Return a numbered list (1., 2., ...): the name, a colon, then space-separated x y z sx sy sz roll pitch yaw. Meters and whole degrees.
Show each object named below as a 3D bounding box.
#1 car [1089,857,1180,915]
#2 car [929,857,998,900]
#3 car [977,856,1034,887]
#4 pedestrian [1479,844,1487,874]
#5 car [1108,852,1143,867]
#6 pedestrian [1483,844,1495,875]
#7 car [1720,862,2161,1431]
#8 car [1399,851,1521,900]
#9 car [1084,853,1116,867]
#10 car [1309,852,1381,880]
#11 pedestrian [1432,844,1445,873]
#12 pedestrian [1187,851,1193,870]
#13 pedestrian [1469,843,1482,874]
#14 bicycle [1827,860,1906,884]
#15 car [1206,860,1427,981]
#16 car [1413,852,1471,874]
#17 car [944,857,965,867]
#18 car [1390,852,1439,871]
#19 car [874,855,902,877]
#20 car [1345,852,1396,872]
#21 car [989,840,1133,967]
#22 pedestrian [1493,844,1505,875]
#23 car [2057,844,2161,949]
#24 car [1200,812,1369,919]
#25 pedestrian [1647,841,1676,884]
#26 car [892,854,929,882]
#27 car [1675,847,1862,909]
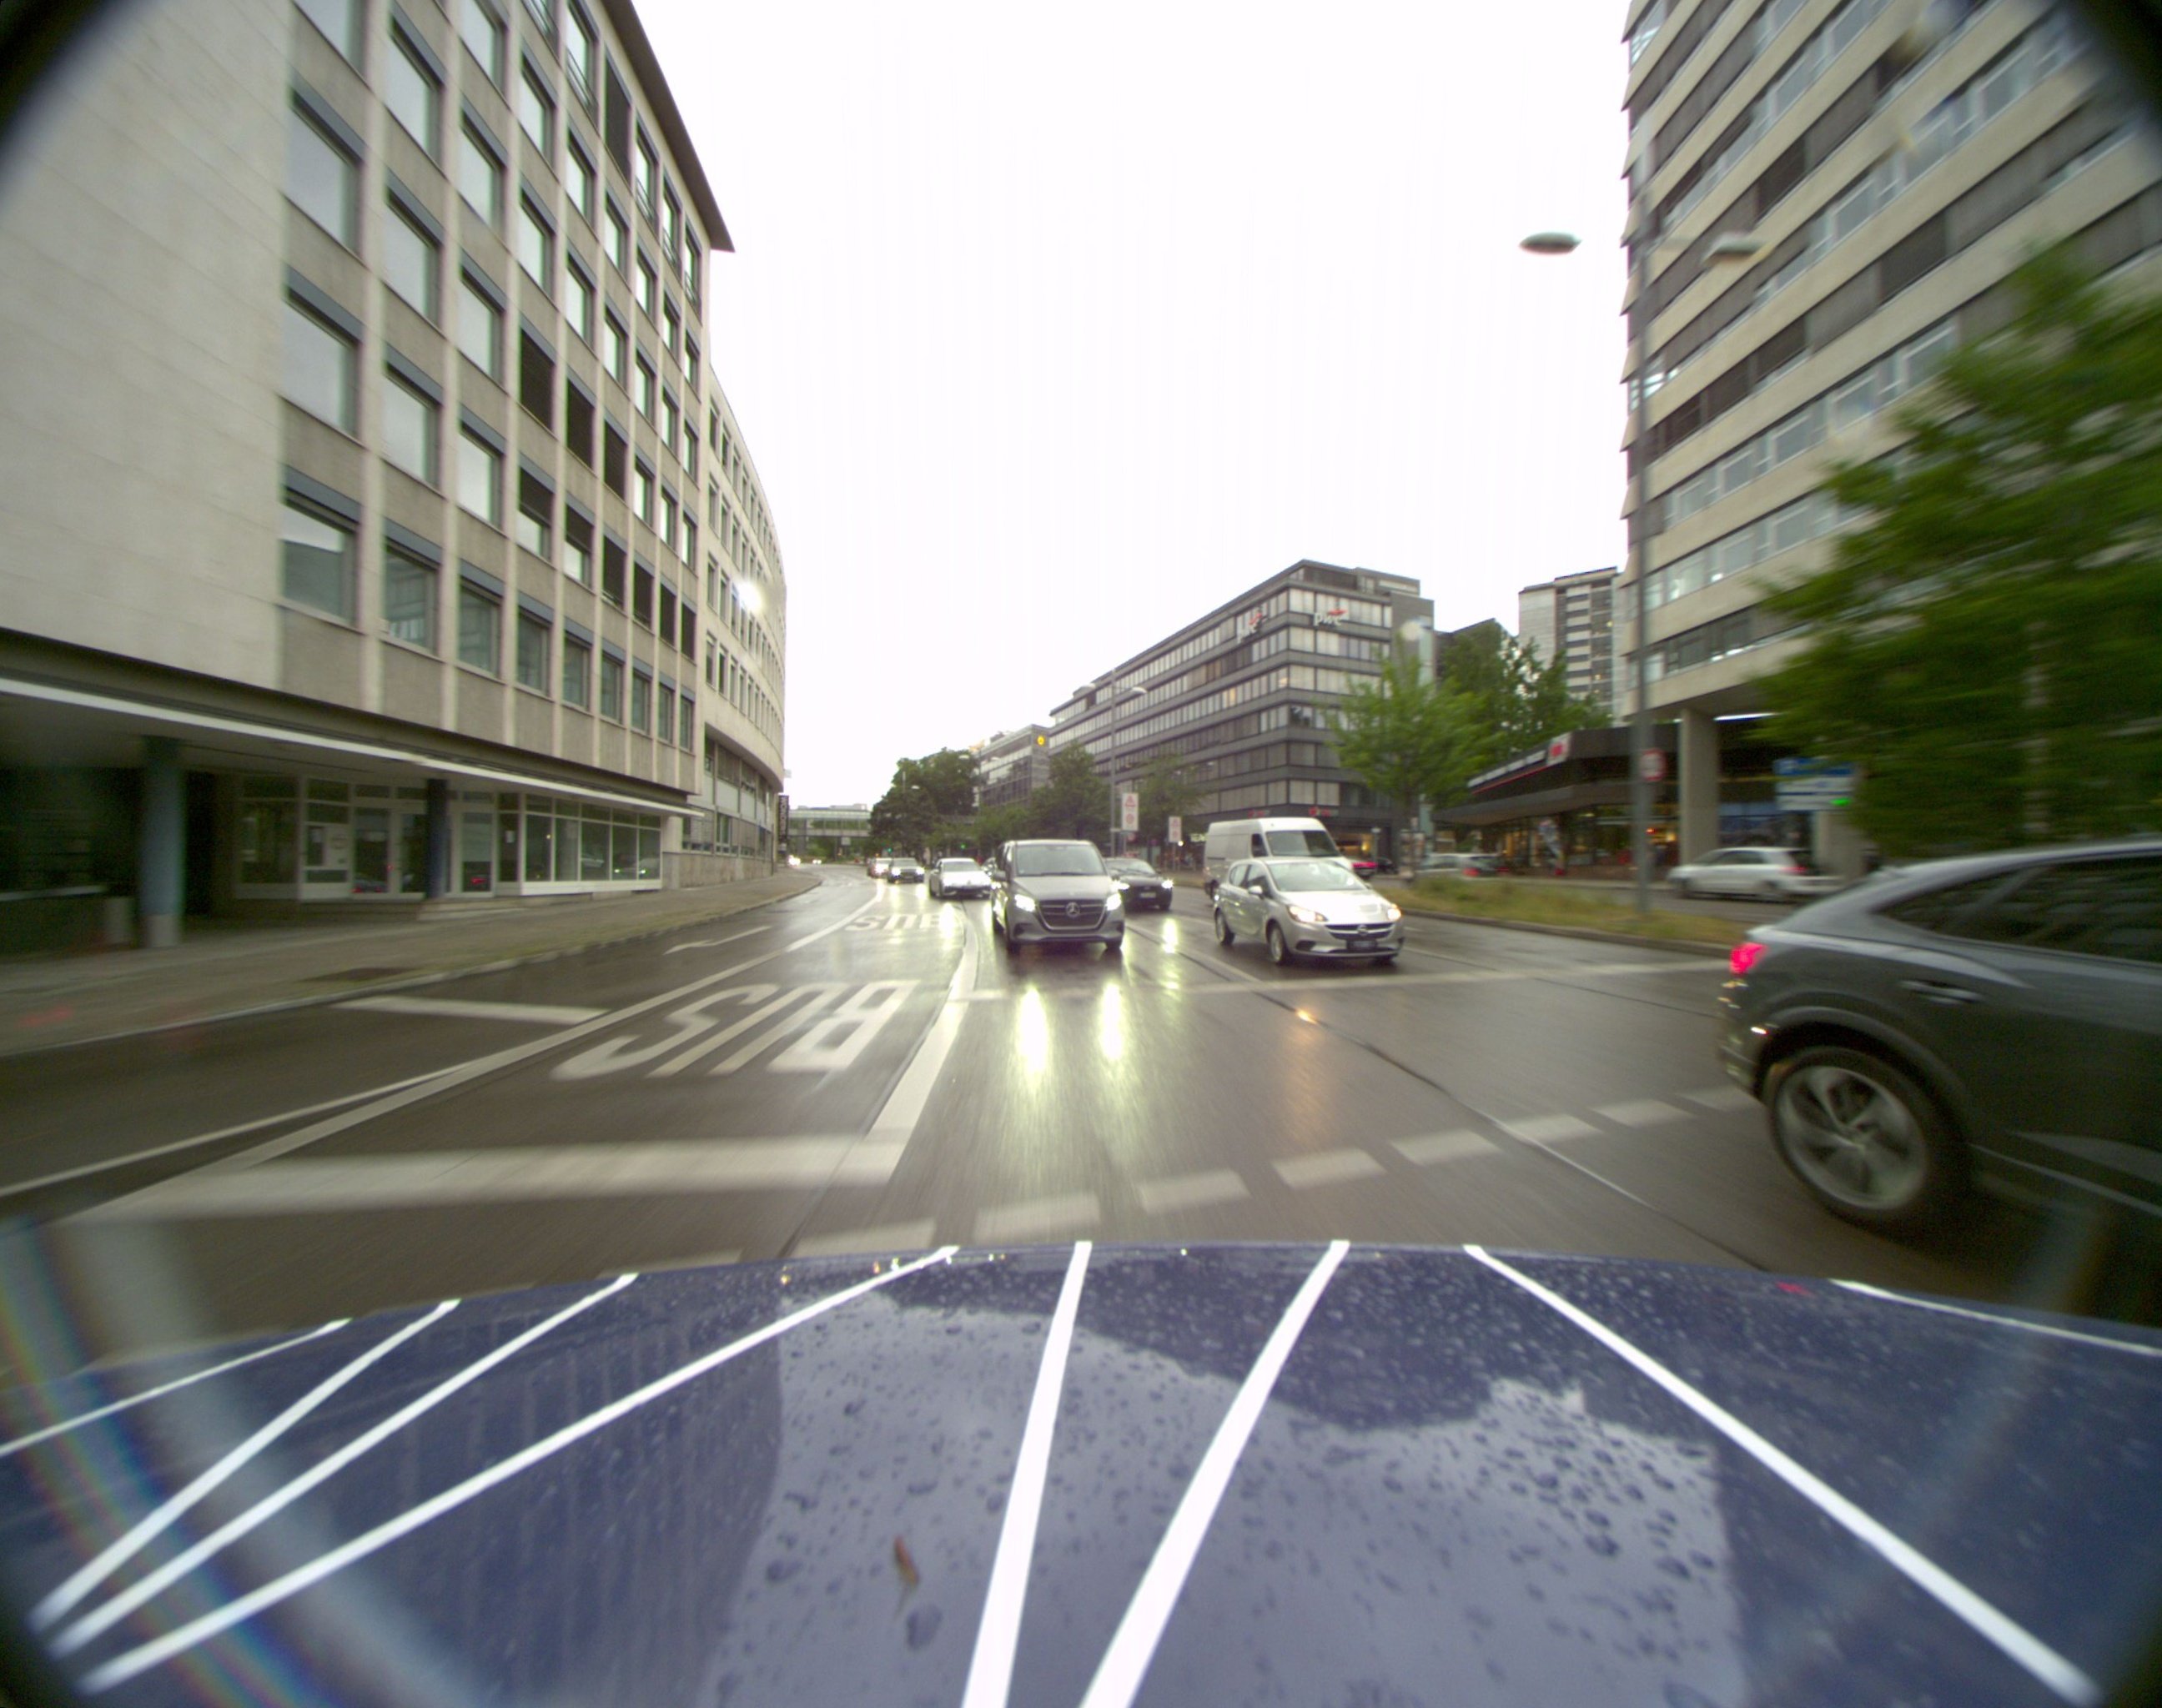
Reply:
1. car: 1.437 0.843 21.984 1.777 1.427 4.091 -1 0 -8
2. car: -4.480 0.881 28.501 1.933 1.471 3.994 0 -1 -18
3. car: -3.656 0.788 36.250 1.779 1.372 4.088 -1 0 -20
4. pedestrian: 23.882 0.301 45.144 0.328 1.761 0.358 -1 1 1
5. car: 4.578 0.587 78.586 2.002 1.498 3.992 -1 0 -23
6. pedestrian: 23.552 0.330 43.820 0.428 1.761 0.470 -1 1 1
7. car: 3.813 0.821 1.364 1.652 1.513 4.270 -1 0 -2
8. car: 12.201 0.640 24.736 1.695 1.377 3.865 -1 1 -7
9. car: 2.084 0.635 84.550 2.002 1.498 4.099 -1 0 -23
10. car: 14.634 0.620 42.388 1.869 1.371 4.406 -1 1 -10
11. pedestrian: 21.674 0.264 46.090 0.536 1.761 0.550 -1 1 1
12. pedestrian: 11.669 0.646 81.069 0.541 2.002 0.296 -1 1 -23
13. pedestrian: 22.710 0.254 43.716 0.556 1.761 0.404 -1 1 1
14. bicycle: 31.233 0.692 30.265 0.460 0.854 2.187 -2 1 -18
15. car: 3.272 0.838 11.404 1.653 1.427 3.872 -1 0 -8
16. car: 27.286 0.667 57.445 3.767 1.575 1.846 -1 0 -21
17. car: -17.459 1.062 105.026 1.754 1.365 3.991 -1 0 -27
18. car: 29.231 0.628 66.577 3.767 1.575 1.846 -1 0 -21
19. car: -14.521 0.882 57.017 1.725 1.456 4.029 -2 1 -19
20. car: 24.679 0.654 64.803 3.767 1.575 1.846 -1 0 -21
21. car: -0.583 0.726 13.882 1.918 1.844 5.022 -1 0 -9
22. pedestrian: 24.139 0.318 43.904 0.428 1.761 0.470 -1 1 1
23. car: 17.161 0.633 10.628 1.648 1.572 4.084 -1 0 -4
24. car: 5.132 0.255 20.186 1.953 2.426 5.473 -1 0 -13
25. pedestrian: 23.190 0.323 30.343 0.681 1.674 0.761 -1 1 -36
26. car: -10.230 0.808 45.533 2.001 1.456 4.398 -1 1 -13
27. car: 19.361 0.598 21.620 1.644 1.562 3.714 -1 1 -11
